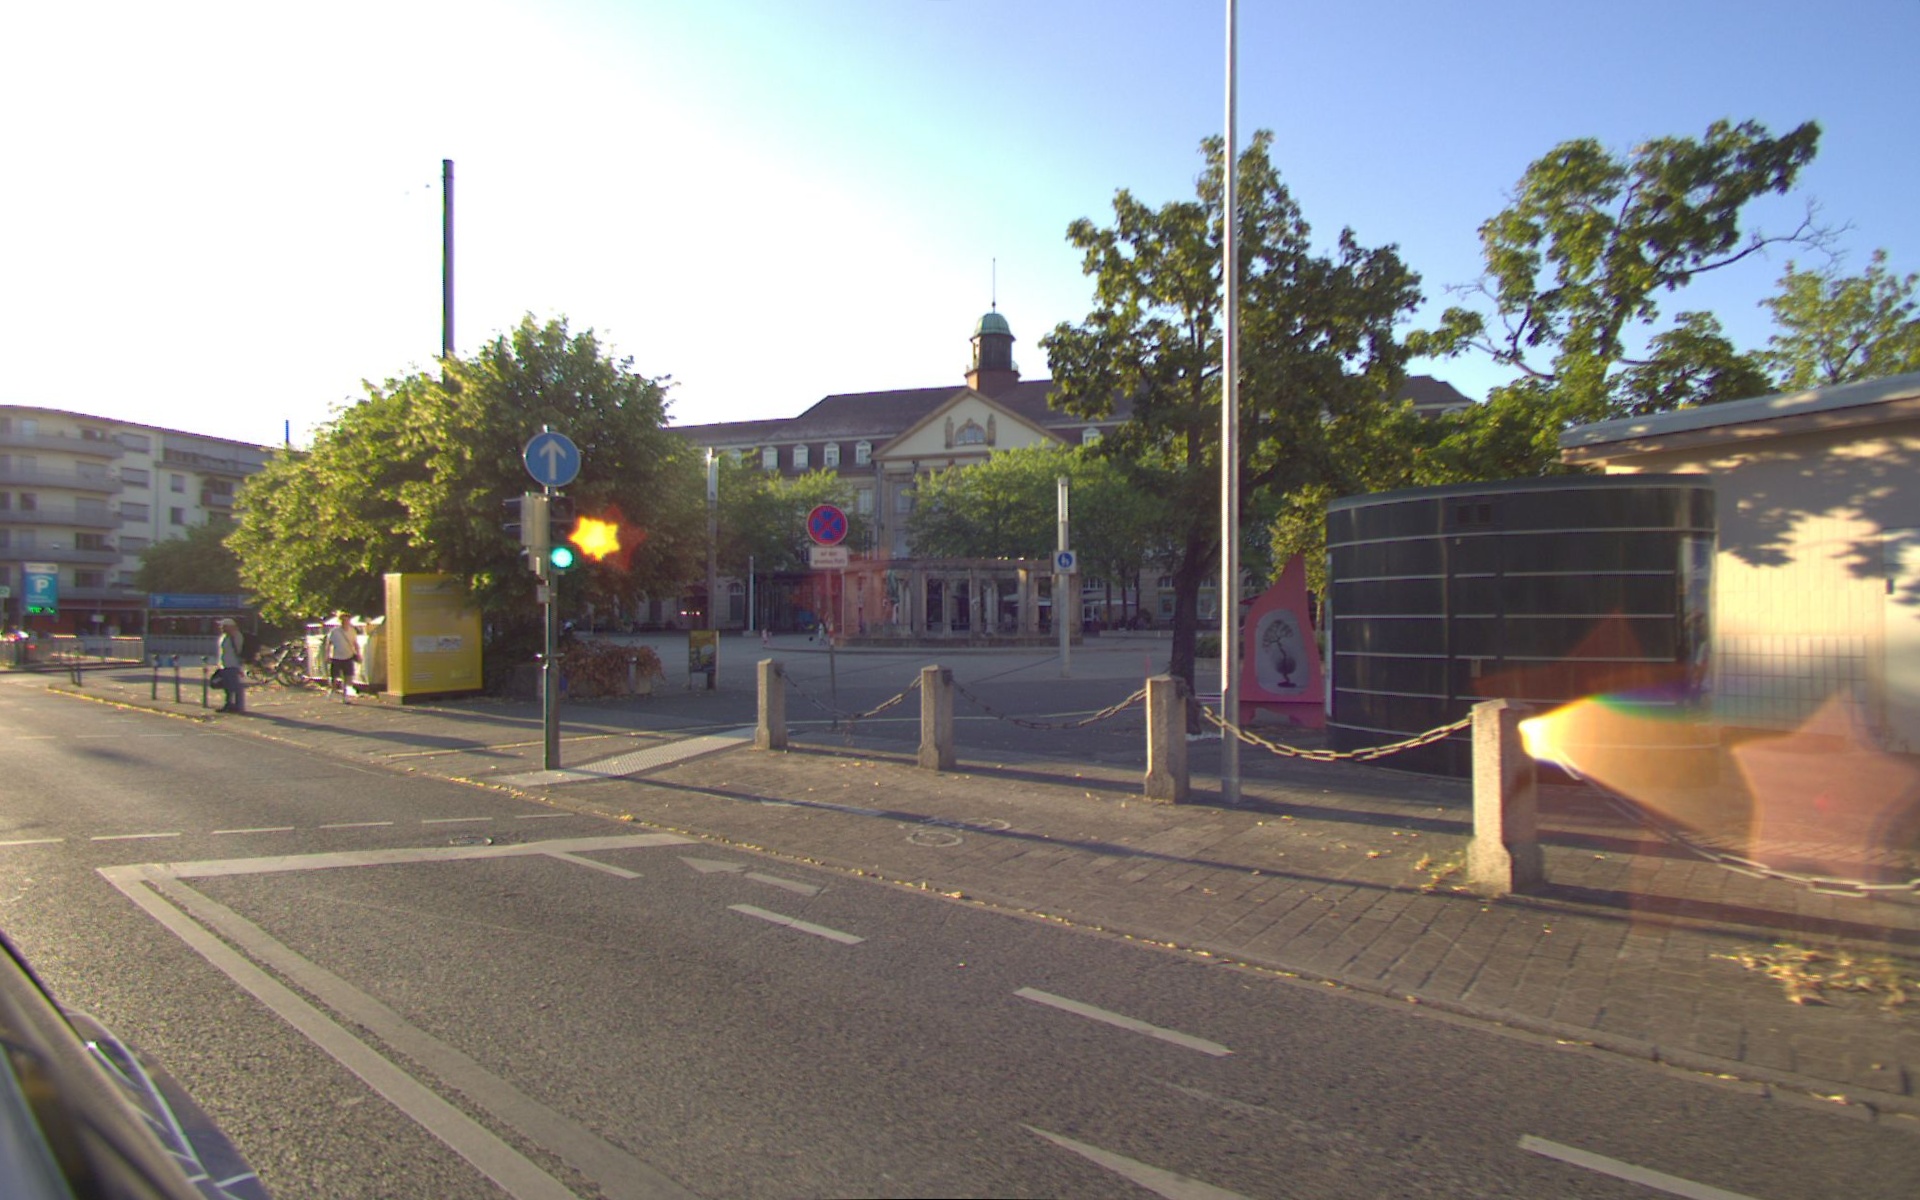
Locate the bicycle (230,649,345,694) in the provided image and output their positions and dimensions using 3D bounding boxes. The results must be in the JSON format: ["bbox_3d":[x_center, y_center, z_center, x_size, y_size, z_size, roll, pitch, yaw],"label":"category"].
[{"bbox_3d":[-17.096,1.802,25.790,2.365,0.966,0.673,-1,0,-43],"label":"bicycle"}]

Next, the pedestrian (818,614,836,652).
[{"bbox_3d":[-6.016,1.473,45.640,0.666,1.689,0.553,-1,0,7],"label":"pedestrian"}]

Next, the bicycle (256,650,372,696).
[{"bbox_3d":[-16.119,1.802,25.306,2.365,0.966,0.673,-1,0,-43],"label":"bicycle"}]

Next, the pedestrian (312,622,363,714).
[{"bbox_3d":[-11.961,1.277,19.442,0.767,1.689,0.909,-1,0,-36],"label":"pedestrian"}]

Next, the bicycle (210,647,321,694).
[{"bbox_3d":[-18.382,1.843,26.831,2.365,1.079,0.673,-1,0,-43],"label":"bicycle"}]

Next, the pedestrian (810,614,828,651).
[{"bbox_3d":[-6.470,1.479,46.423,0.672,1.689,0.610,-1,0,6],"label":"pedestrian"}]

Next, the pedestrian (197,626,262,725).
[{"bbox_3d":[-13.111,1.326,18.162,0.892,1.689,0.781,-1,0,-38],"label":"pedestrian"}]
